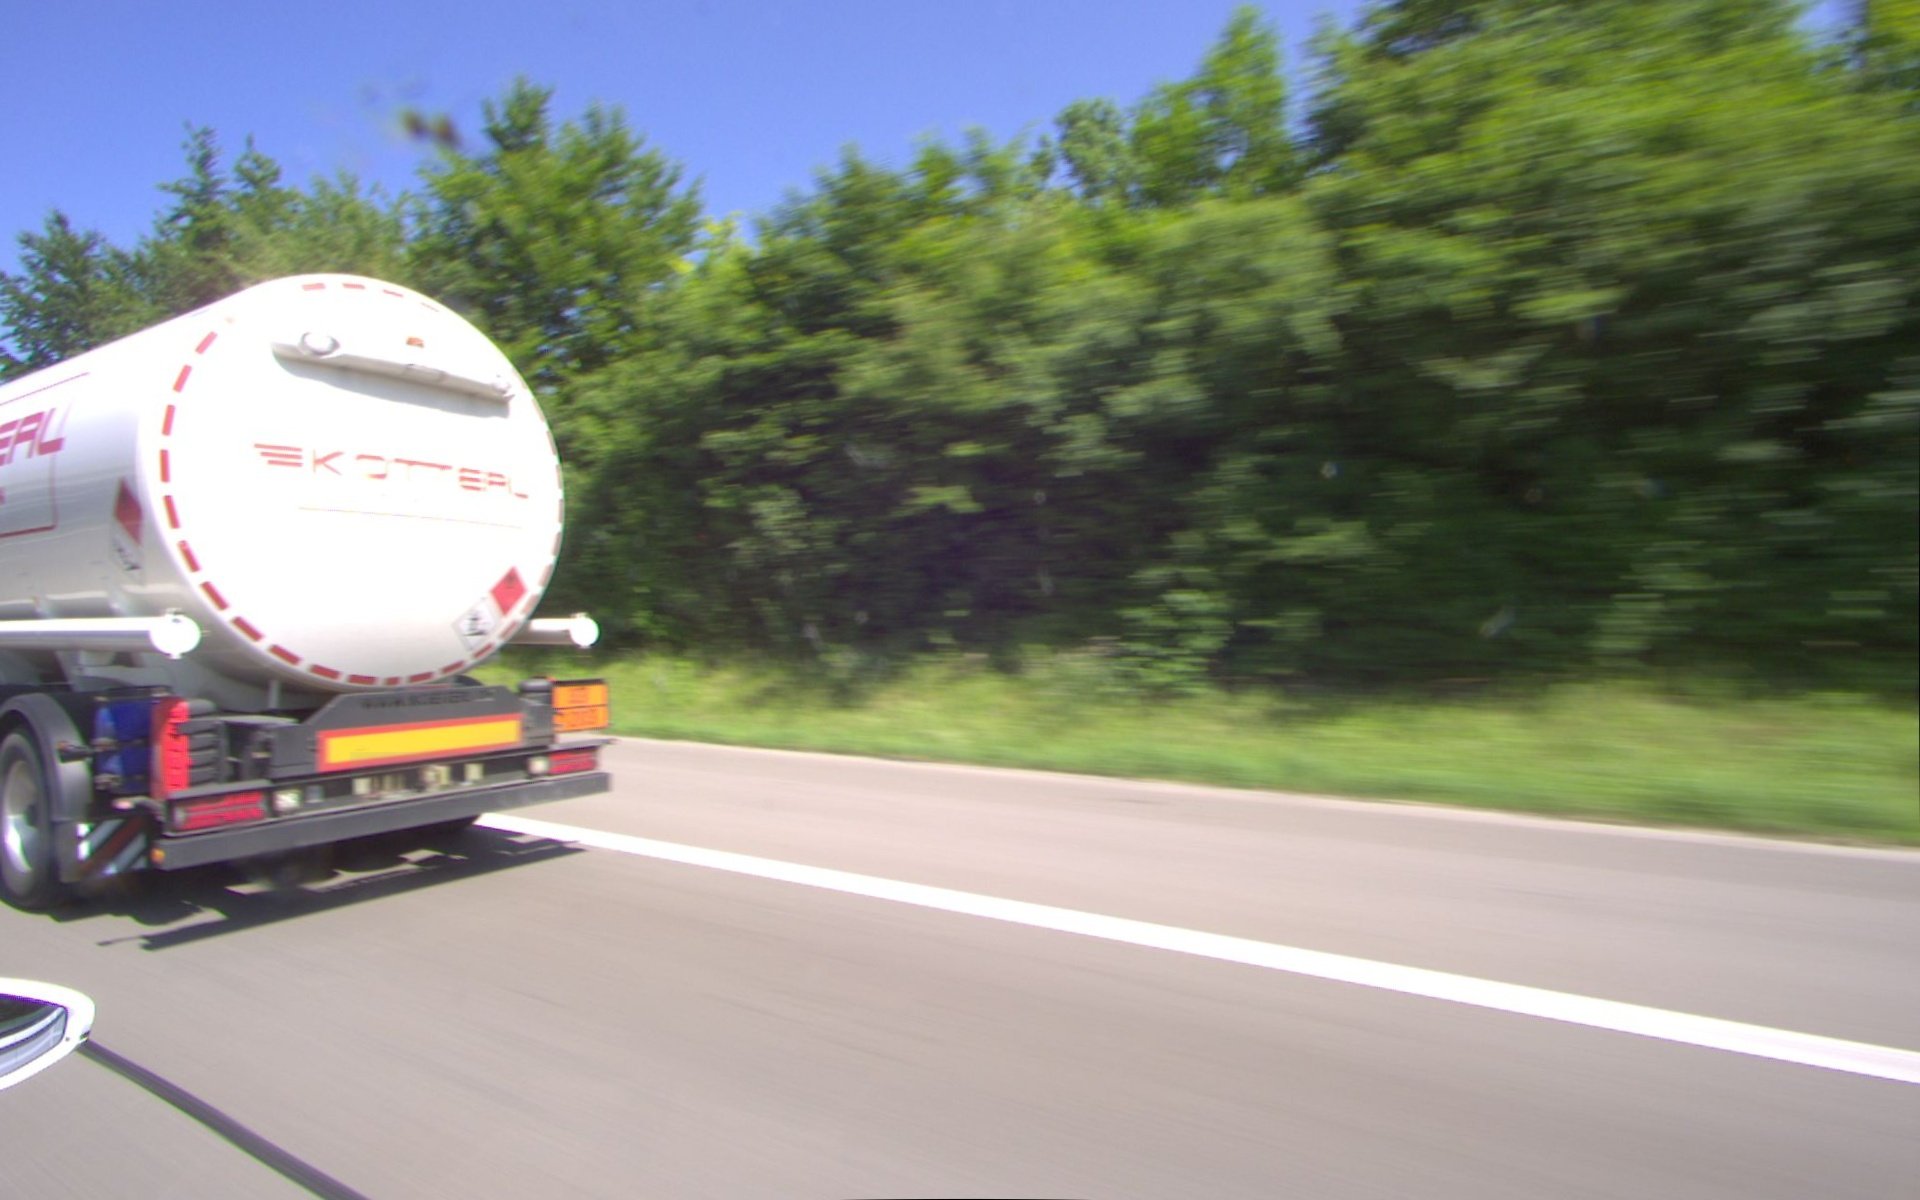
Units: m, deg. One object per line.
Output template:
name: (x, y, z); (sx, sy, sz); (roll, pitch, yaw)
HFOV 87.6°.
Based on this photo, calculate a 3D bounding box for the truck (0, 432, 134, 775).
truck: (-12.368, 0.081, 11.556); (6.397, 3.418, 2.632); (-1, -1, 34)

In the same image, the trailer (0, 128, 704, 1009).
trailer: (-6.892, -0.011, 7.998); (10.993, 3.433, 2.643); (-1, -1, 33)
